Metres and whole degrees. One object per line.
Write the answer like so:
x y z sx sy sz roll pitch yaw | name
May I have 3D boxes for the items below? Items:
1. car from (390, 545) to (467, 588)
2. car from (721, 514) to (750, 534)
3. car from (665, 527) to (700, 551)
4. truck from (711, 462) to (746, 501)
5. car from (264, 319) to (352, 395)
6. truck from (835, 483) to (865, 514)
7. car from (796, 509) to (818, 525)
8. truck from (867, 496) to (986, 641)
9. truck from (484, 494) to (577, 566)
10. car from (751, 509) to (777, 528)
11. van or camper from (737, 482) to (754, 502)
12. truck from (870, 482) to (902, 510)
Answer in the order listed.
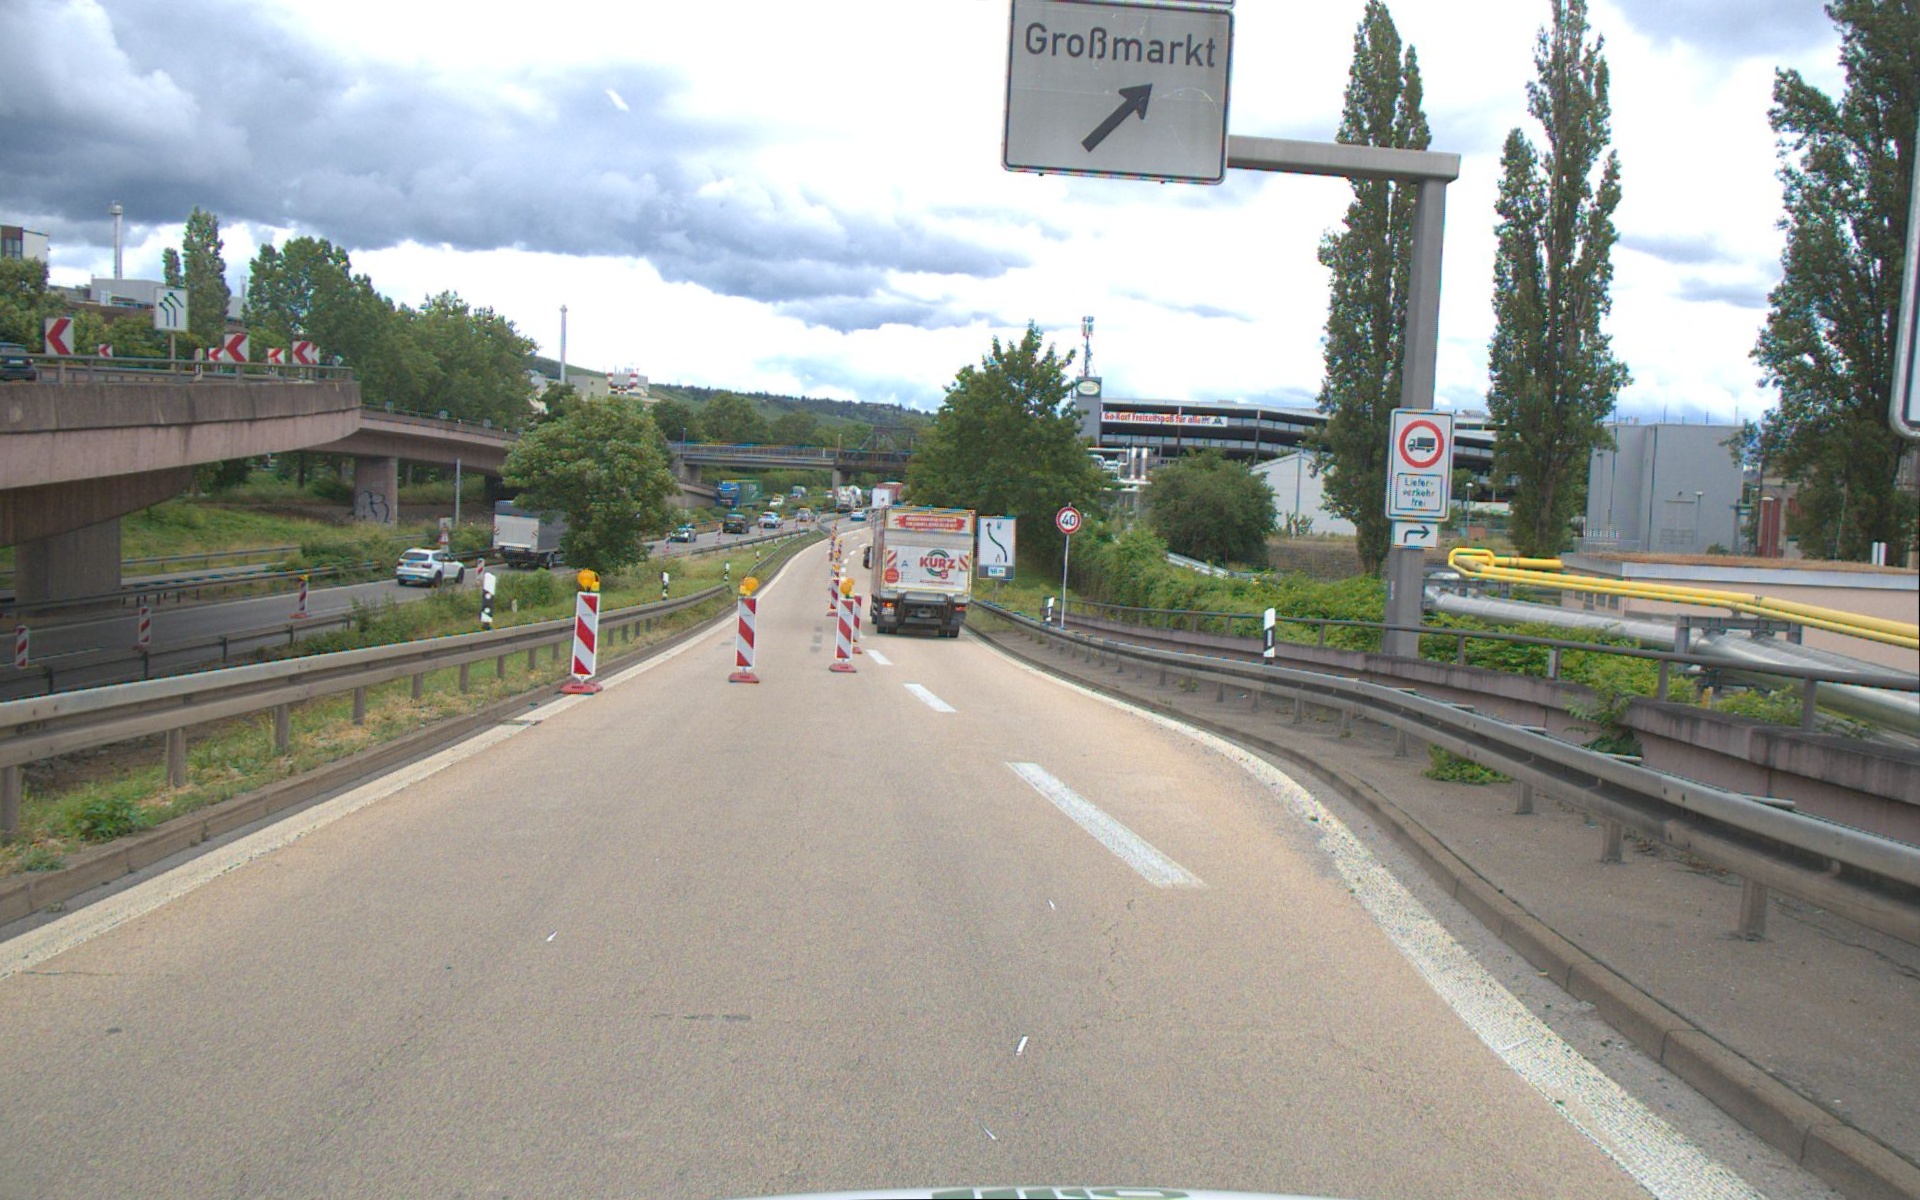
-24.864 -1.596 77.538 1.952 1.741 4.105 3 4 5 | car
-20.098 -6.849 148.460 1.953 1.645 4.002 3 4 1 | car
-21.675 -4.792 129.518 1.953 1.645 4.002 3 4 1 | car
-27.086 -13.887 193.637 2.695 4.344 5.508 3 3 4 | truck
-20.437 -7.545 51.751 1.973 1.802 3.959 2 1 -30 | car
-14.603 -13.490 219.571 3.219 3.917 7.668 3 4 1 | truck
-17.126 -9.332 185.092 1.953 1.645 4.002 3 4 1 | car
-1.124 -1.087 48.675 2.991 3.735 7.925 3 4 -4 | truck
-24.002 -4.017 92.883 2.988 3.718 7.400 3 4 1 | truck
-19.461 -8.114 164.312 1.953 1.645 4.002 3 4 1 | car
-30.045 -15.091 231.716 1.702 2.681 4.057 3 3 1 | van or camper
-10.045 -14.179 226.106 3.218 3.661 7.672 3 4 5 | truck
